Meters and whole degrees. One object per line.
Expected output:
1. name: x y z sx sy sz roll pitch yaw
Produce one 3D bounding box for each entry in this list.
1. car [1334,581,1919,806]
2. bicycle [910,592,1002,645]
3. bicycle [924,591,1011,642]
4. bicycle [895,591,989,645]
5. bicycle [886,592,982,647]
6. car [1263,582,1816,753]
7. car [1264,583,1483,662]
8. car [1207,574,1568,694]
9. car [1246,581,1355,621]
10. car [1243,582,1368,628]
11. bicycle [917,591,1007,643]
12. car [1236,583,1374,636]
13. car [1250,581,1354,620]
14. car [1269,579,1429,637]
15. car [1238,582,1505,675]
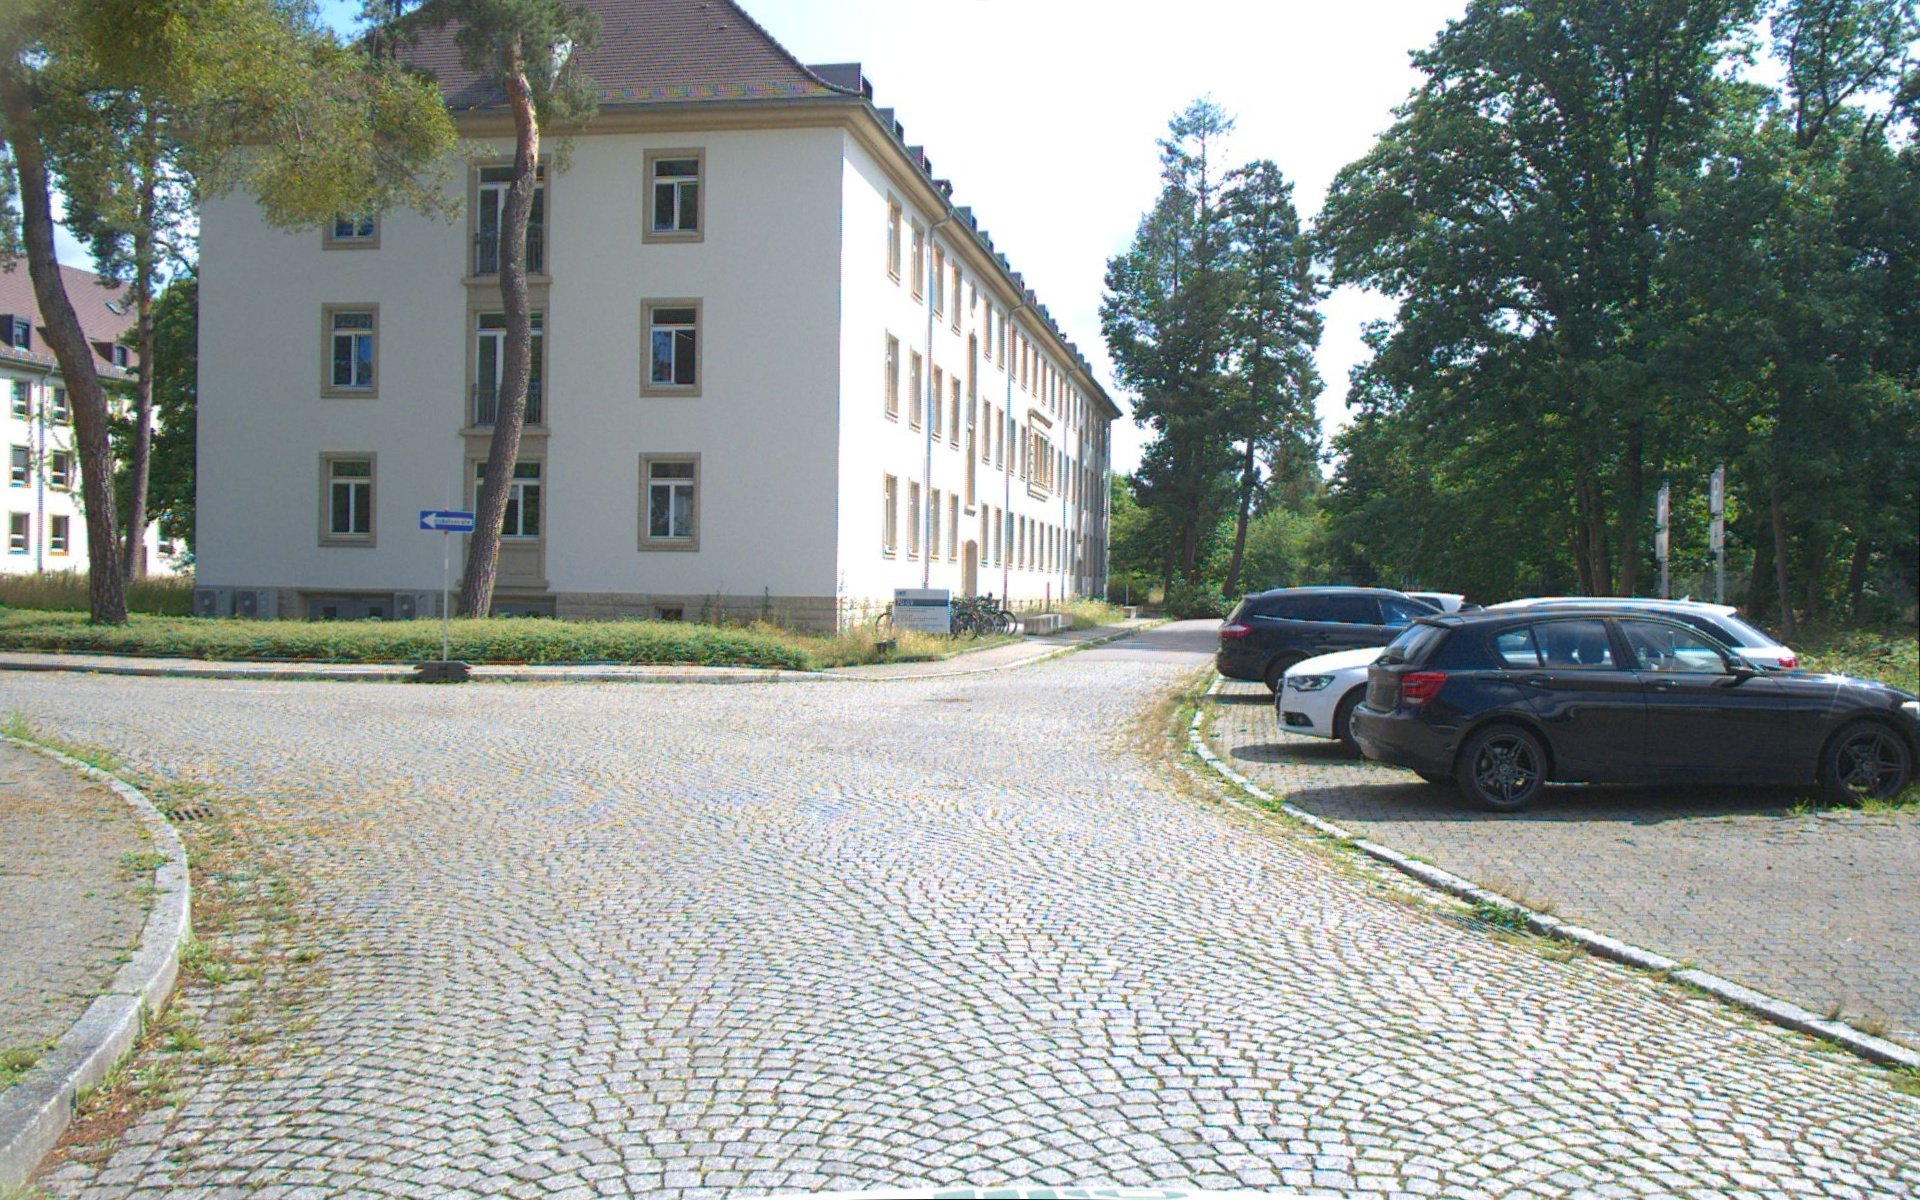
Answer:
1. car: 5.199 0.658 12.738 4.235 1.526 1.830 -1 1 1
2. bicycle: -0.105 0.439 40.793 2.175 1.282 0.623 0 0 17
3. bicycle: 0.200 0.416 42.700 2.174 1.282 0.623 0 0 12
4. bicycle: -0.428 0.431 39.963 2.174 1.282 0.623 0 0 12
5. bicycle: -0.608 0.447 39.113 2.175 1.282 0.623 0 0 17
6. car: 5.381 0.618 15.953 4.758 1.498 1.876 -1 1 9
7. car: 8.221 0.446 33.142 4.117 1.510 1.821 -1 0 12
8. car: 5.893 0.475 23.335 4.749 1.580 1.881 -1 0 9
9. car: 13.368 0.039 64.949 4.097 1.510 1.821 -1 0 12
10. car: 11.812 0.174 56.595 4.097 1.510 1.821 -1 0 12
11. bicycle: 0.044 0.422 41.702 2.174 1.282 0.623 0 0 12
12. car: 10.640 0.305 51.087 4.097 1.570 1.821 -1 0 12
13. car: 13.961 0.027 67.632 4.097 1.510 1.821 -1 0 12
14. car: 10.677 0.232 45.589 4.175 1.510 1.821 -1 0 12
15. car: 7.008 0.483 28.539 4.304 1.510 1.767 -1 0 9
